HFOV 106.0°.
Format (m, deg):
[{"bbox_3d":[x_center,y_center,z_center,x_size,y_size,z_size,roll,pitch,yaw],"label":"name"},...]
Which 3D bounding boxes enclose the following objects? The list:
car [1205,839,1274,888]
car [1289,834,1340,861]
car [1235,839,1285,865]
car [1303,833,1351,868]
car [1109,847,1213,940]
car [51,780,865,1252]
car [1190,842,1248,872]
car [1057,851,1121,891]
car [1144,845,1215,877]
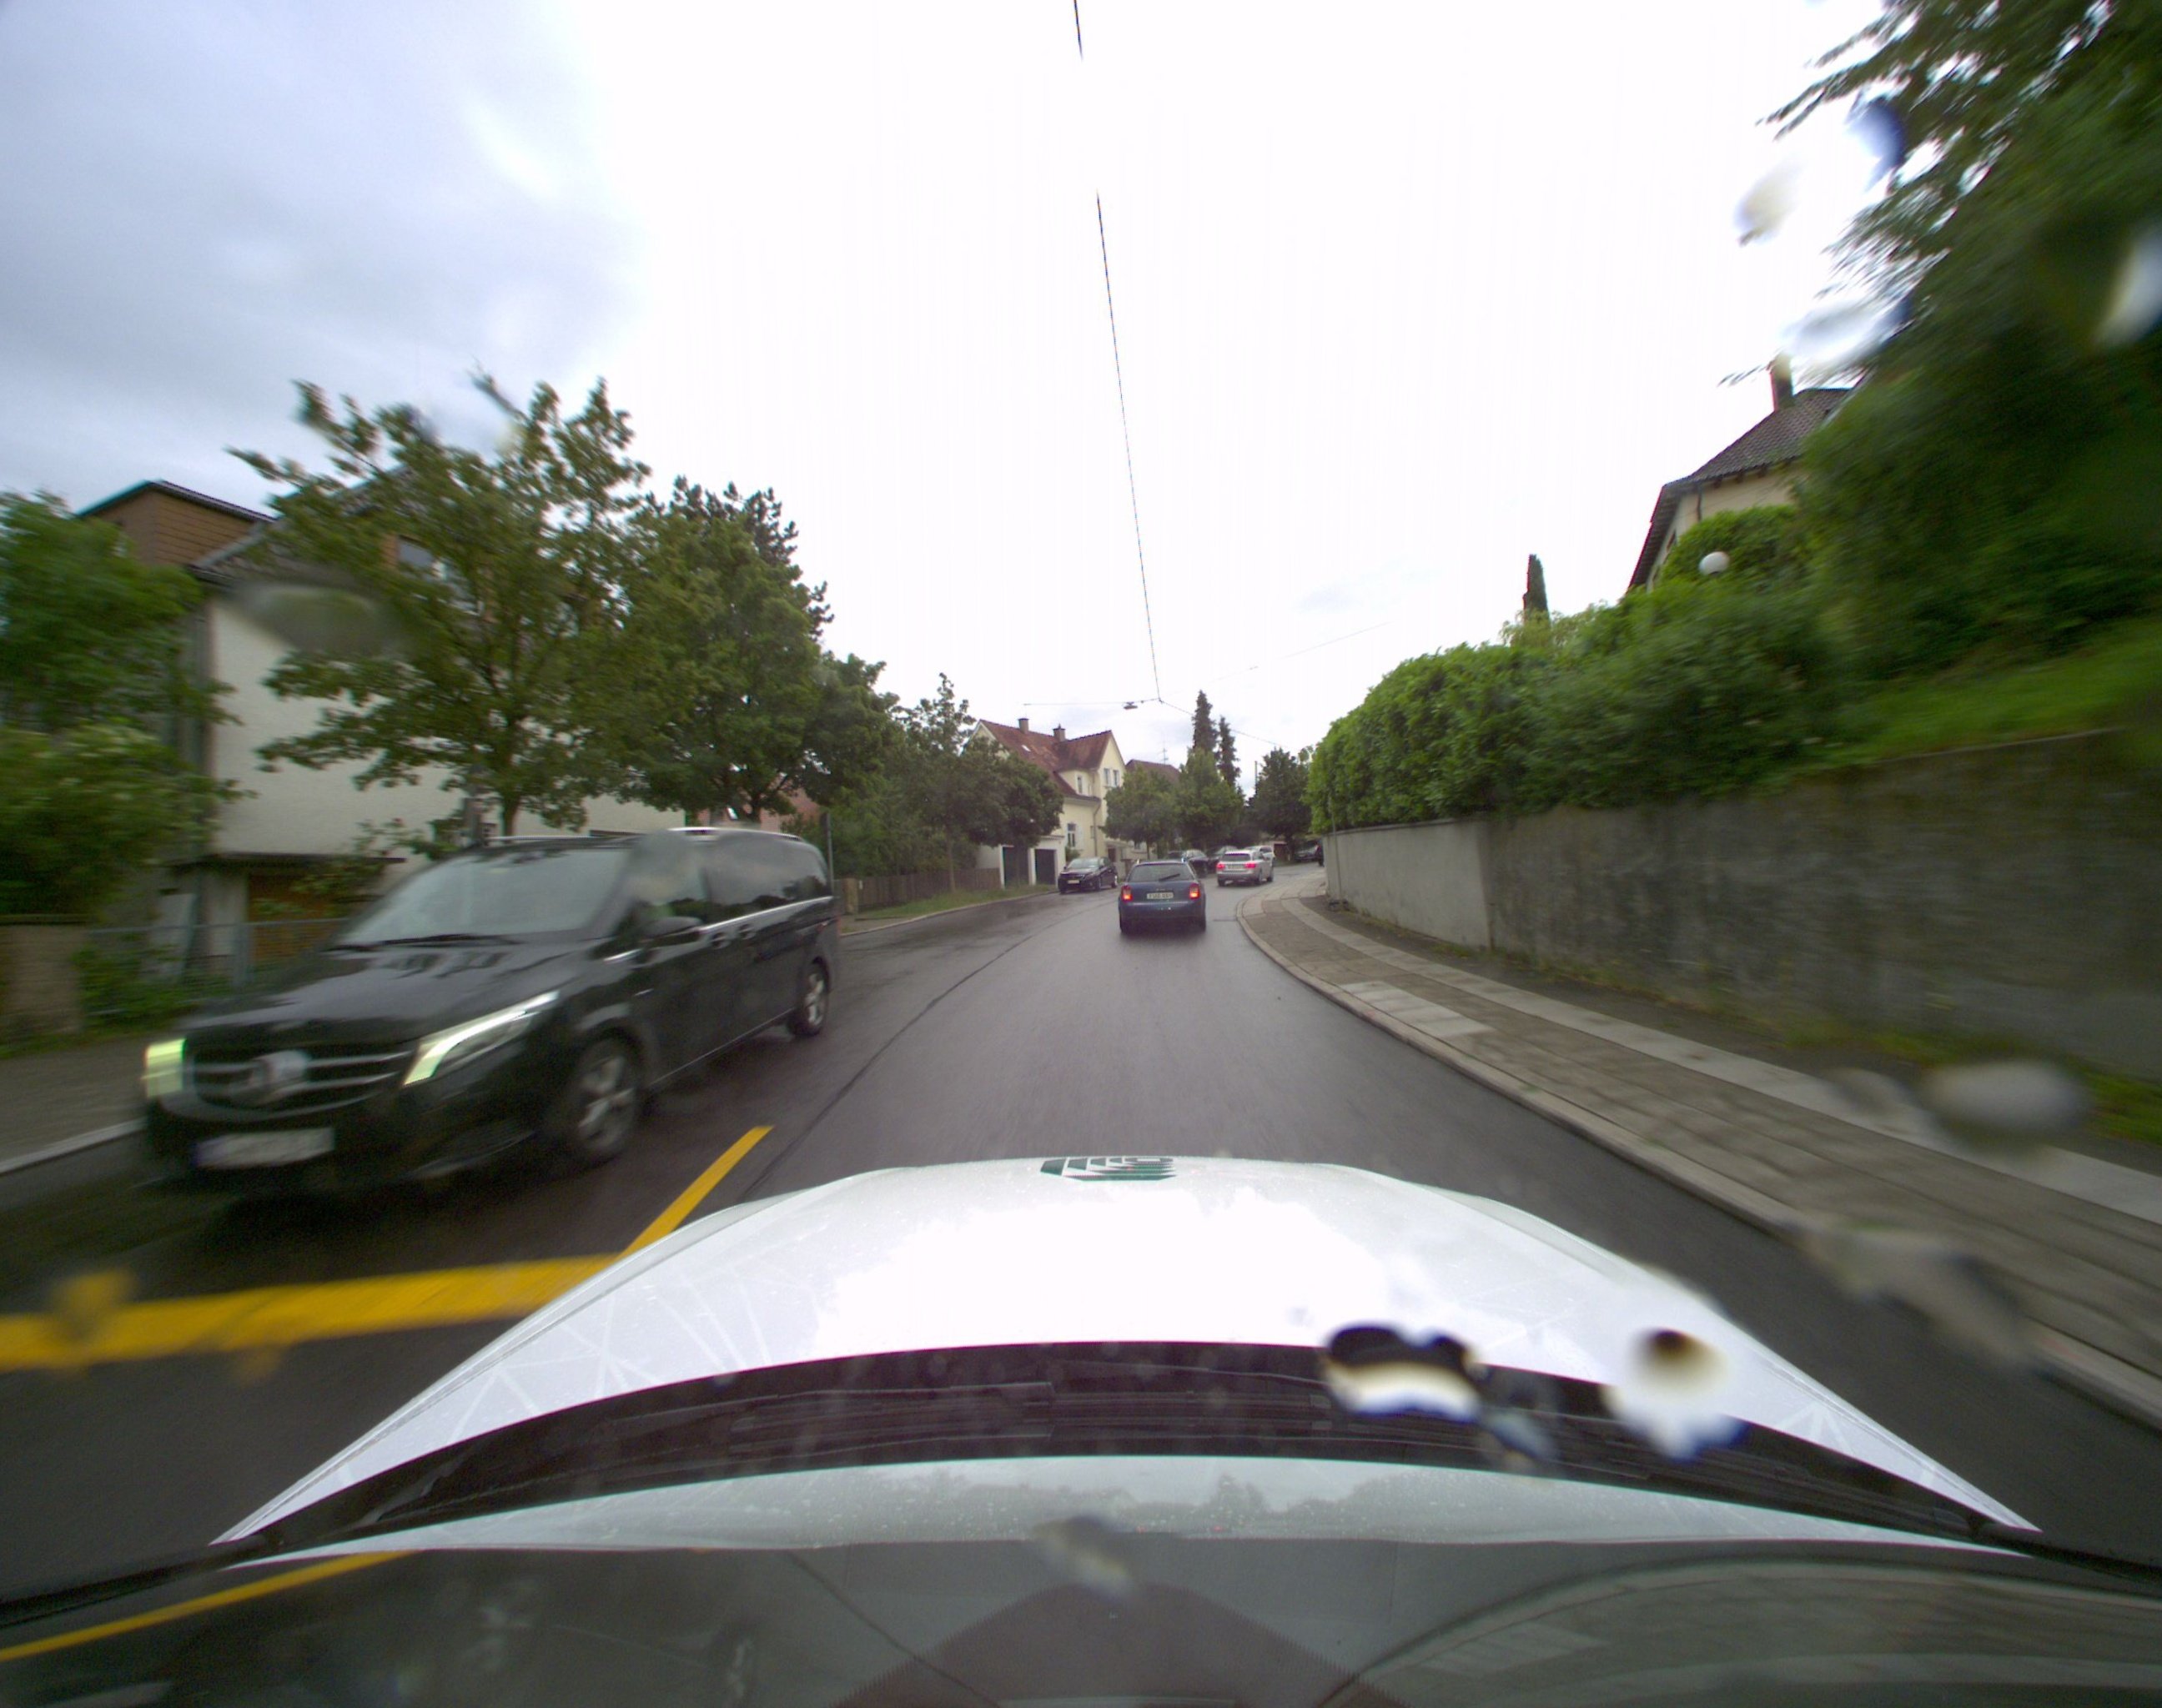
[{"bbox_3d":[6.867,0.351,34.936,1.958,1.634,4.259,-5,2,23],"label":"car"},{"bbox_3d":[17.523,-0.481,60.972,1.783,1.668,4.454,-7,-2,41],"label":"car"},{"bbox_3d":[12.016,-0.136,54.581,1.716,1.466,4.026,-4,0,36],"label":"car"},{"bbox_3d":[15.389,-0.246,50.862,1.716,1.768,4.263,-4,2,31],"label":"car"},{"bbox_3d":[1.822,0.735,17.396,1.722,1.466,4.013,-5,2,11],"label":"car"},{"bbox_3d":[-3.388,0.701,6.100,1.890,1.889,5.154,-5,0,1],"label":"car"},{"bbox_3d":[8.497,0.165,49.959,1.716,1.545,4.237,-4,0,36],"label":"car"},{"bbox_3d":[0.411,0.707,35.336,1.657,1.466,3.912,-5,-1,17],"label":"car"},{"bbox_3d":[5.592,0.370,45.839,1.848,1.545,4.937,-4,0,34],"label":"car"}]
